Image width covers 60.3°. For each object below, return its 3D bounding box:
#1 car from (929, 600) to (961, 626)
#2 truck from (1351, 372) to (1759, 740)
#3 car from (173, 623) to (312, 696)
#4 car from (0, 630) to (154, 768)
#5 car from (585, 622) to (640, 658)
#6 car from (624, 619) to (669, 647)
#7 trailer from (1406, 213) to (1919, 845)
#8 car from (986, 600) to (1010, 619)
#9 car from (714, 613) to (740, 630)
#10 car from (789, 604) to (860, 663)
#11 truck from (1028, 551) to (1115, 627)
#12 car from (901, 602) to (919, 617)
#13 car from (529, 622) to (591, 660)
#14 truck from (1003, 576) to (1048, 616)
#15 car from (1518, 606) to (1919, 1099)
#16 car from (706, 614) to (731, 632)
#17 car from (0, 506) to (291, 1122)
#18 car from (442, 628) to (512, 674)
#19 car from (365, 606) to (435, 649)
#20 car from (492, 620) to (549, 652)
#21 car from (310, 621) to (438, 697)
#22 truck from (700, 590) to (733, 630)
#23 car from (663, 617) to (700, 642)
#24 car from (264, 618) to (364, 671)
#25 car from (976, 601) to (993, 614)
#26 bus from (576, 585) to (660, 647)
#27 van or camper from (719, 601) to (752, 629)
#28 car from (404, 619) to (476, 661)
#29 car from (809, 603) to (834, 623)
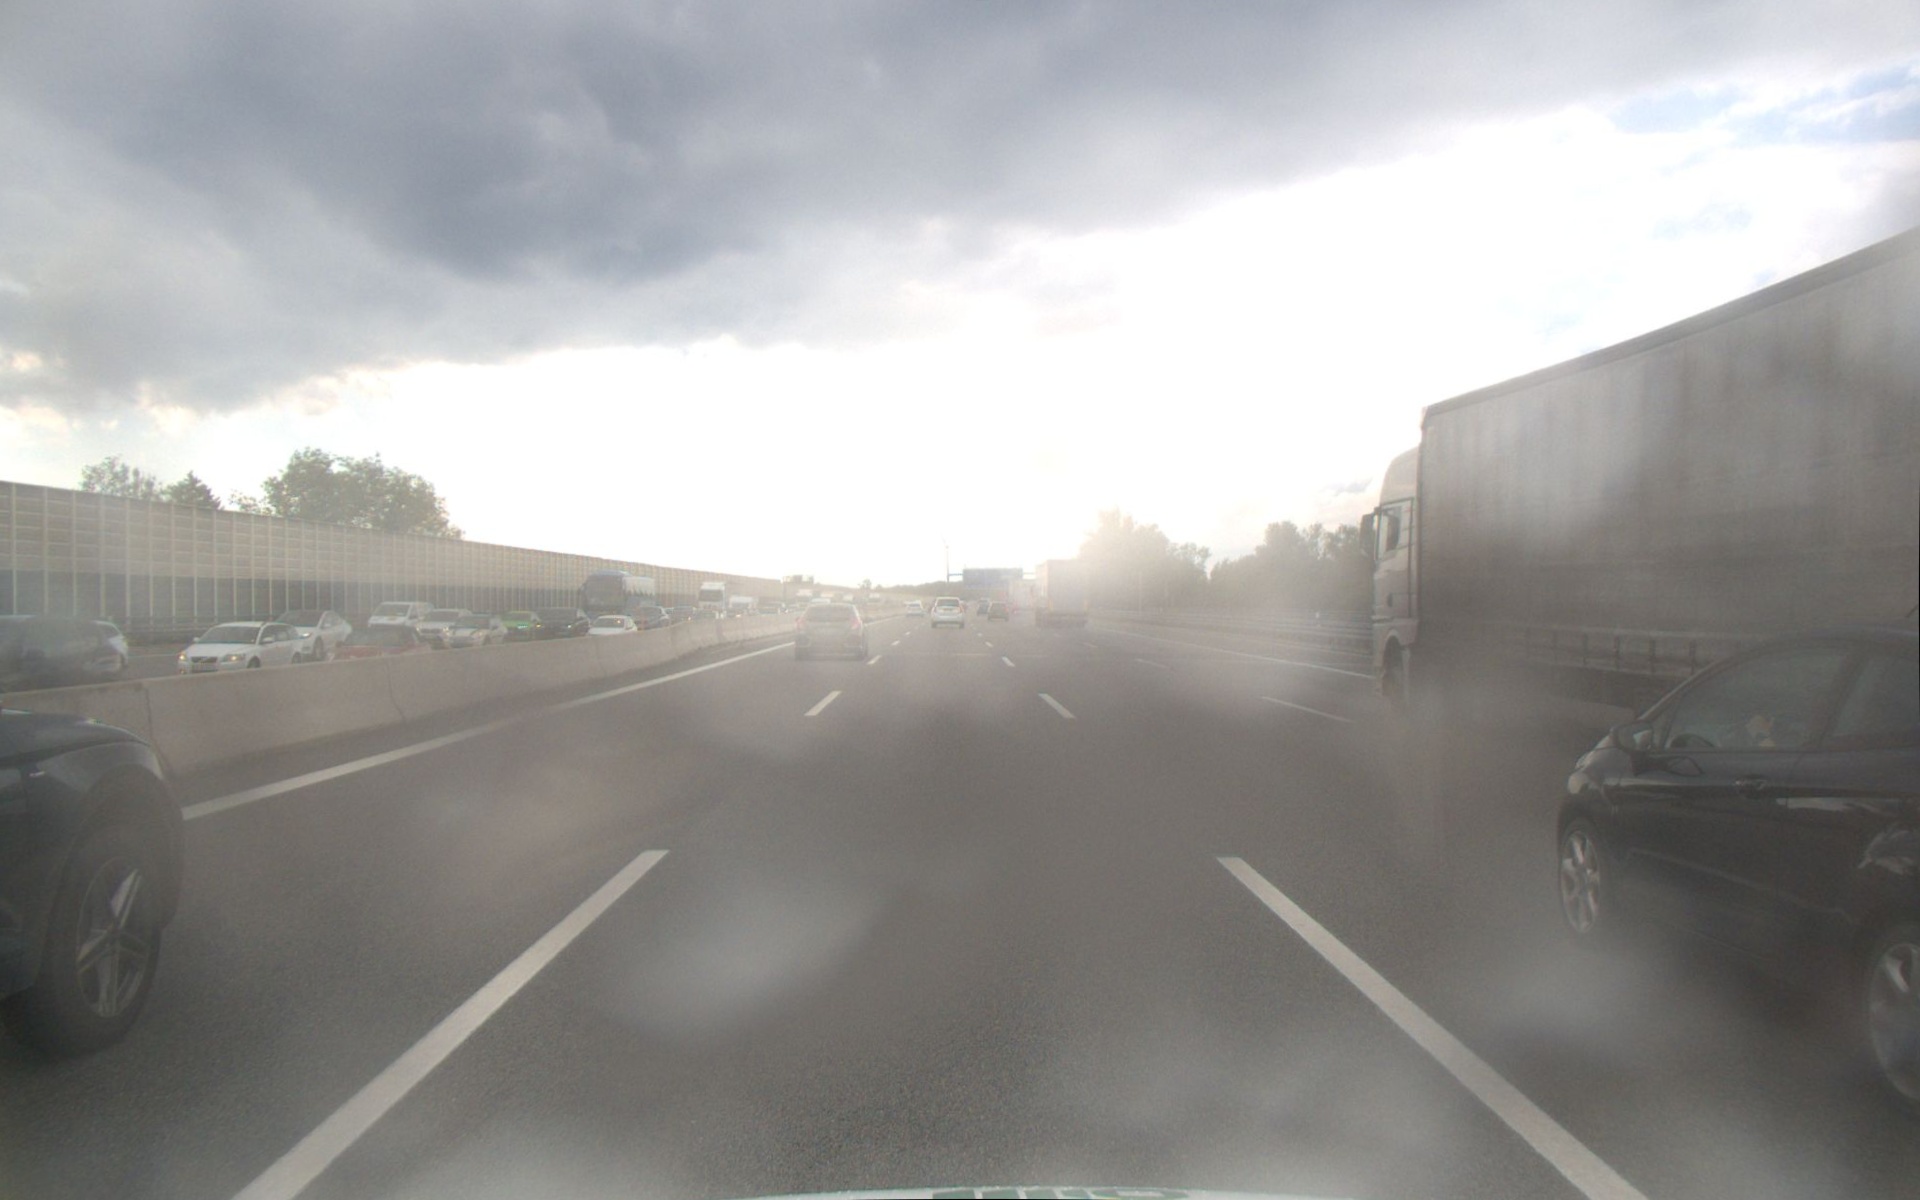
[{"bbox_3d":[-0.905,0.760,97.284,1.737,1.466,4.053,1,0,-3],"label":"car"},{"bbox_3d":[7.444,-0.514,21.810,2.901,4.090,6.587,1,0,-1],"label":"truck"},{"bbox_3d":[-17.831,1.439,41.321,1.712,1.659,4.165,0,0,-1],"label":"car"},{"bbox_3d":[-13.766,1.375,23.699,1.841,1.775,5.110,0,0,1],"label":"car"},{"bbox_3d":[-14.392,1.635,68.679,1.539,1.418,3.575,0,0,0],"label":"car"},{"bbox_3d":[-18.450,1.935,97.513,1.711,1.552,4.926,0,0,0],"label":"car"},{"bbox_3d":[7.585,-0.484,15.273,2.901,4.090,14.115,1,0,-1],"label":"trailer"},{"bbox_3d":[3.142,0.774,138.119,1.798,1.466,4.054,1,0,-2],"label":"car"},{"bbox_3d":[-22.282,2.005,158.369,1.711,1.552,5.140,0,0,0],"label":"car"},{"bbox_3d":[-3.535,0.841,43.777,1.725,1.393,5.057,1,0,-3],"label":"car"},{"bbox_3d":[6.810,-0.655,103.441,4.096,4.363,12.608,1,0,-2],"label":"truck"},{"bbox_3d":[-5.042,0.930,165.488,1.737,1.466,3.872,1,0,-3],"label":"car"},{"bbox_3d":[-18.738,1.904,77.617,1.895,1.639,4.177,0,0,0],"label":"car"},{"bbox_3d":[7.080,-0.438,181.188,4.158,4.249,11.986,1,0,-1],"label":"truck"},{"bbox_3d":[3.491,0.773,6.595,1.417,1.466,3.163,0,0,-1],"label":"car"},{"bbox_3d":[-21.782,2.079,149.323,1.711,1.552,4.177,0,0,0],"label":"car"},{"bbox_3d":[-3.608,0.600,4.079,1.869,1.720,5.168,0,0,-1],"label":"car"},{"bbox_3d":[-18.329,1.923,62.882,1.587,1.607,3.619,0,0,0],"label":"car"},{"bbox_3d":[-25.830,1.241,76.431,1.712,1.926,4.781,0,0,-1],"label":"car"},{"bbox_3d":[-21.784,1.772,82.204,1.712,1.456,4.714,0,0,-2],"label":"car"},{"bbox_3d":[-13.904,1.366,39.443,1.712,1.659,3.747,0,0,0],"label":"car"},{"bbox_3d":[-25.427,1.041,172.801,2.524,4.004,5.177,1,0,0],"label":"truck"},{"bbox_3d":[-18.488,1.933,109.981,1.711,1.552,4.177,0,0,0],"label":"car"},{"bbox_3d":[-21.652,1.456,55.607,1.712,1.659,4.642,0,0,-2],"label":"car"},{"bbox_3d":[2.879,0.890,196.800,1.798,1.466,4.054,1,0,-2],"label":"car"},{"bbox_3d":[-22.331,0.960,108.626,3.029,3.824,11.881,0,0,0],"label":"bus"},{"bbox_3d":[-22.338,1.469,164.523,2.296,2.687,7.149,0,0,0],"label":"van or camper"},{"bbox_3d":[-21.857,1.671,69.618,1.711,1.639,4.177,0,0,0],"label":"car"},{"bbox_3d":[-14.640,1.380,175.181,2.115,2.107,6.014,0,0,0],"label":"car"}]
